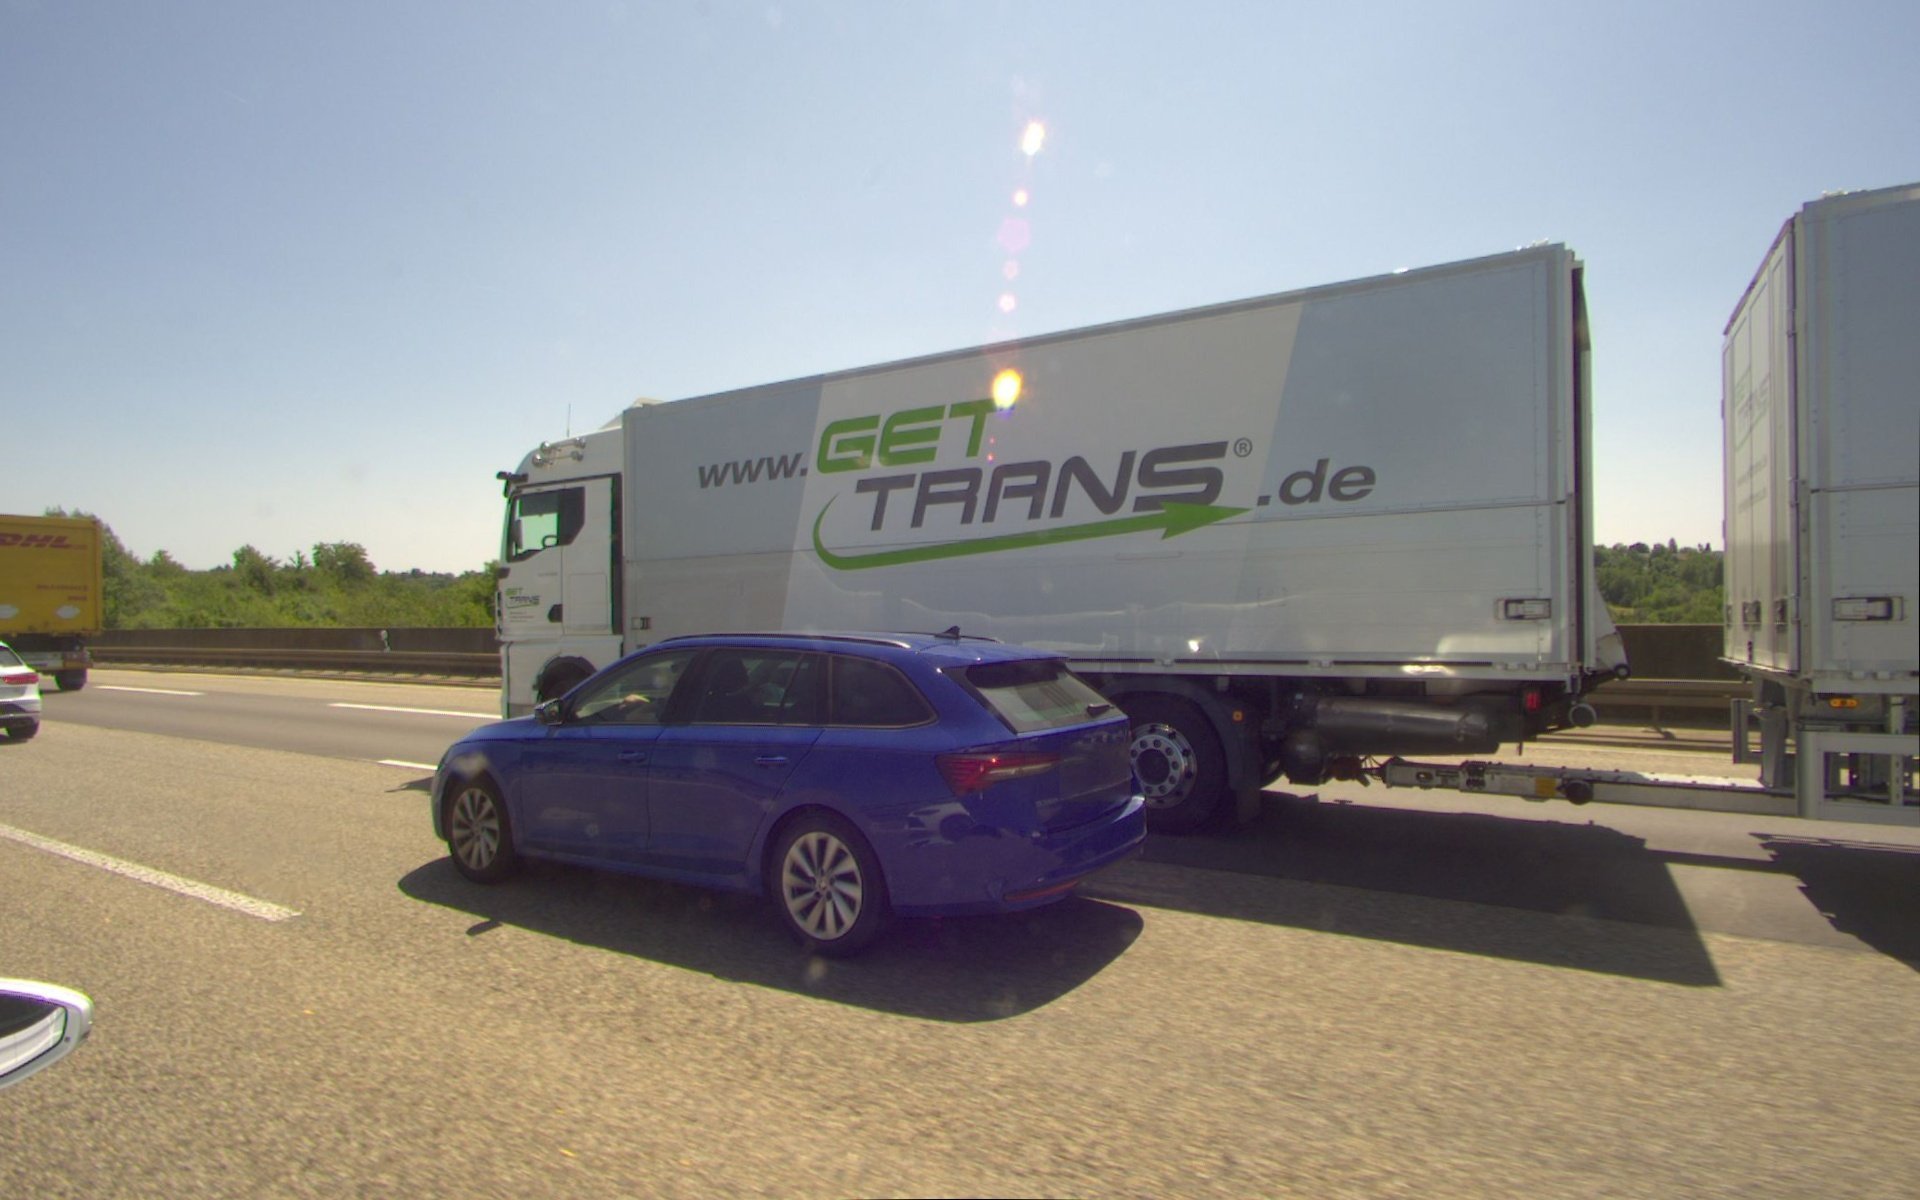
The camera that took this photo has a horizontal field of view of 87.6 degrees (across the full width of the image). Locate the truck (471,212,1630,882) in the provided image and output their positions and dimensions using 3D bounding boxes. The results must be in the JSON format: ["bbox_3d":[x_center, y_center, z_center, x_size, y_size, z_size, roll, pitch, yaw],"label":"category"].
[{"bbox_3d":[-0.155,-0.127,9.472,10.614,3.648,2.846,-2,-2,32],"label":"truck"}]

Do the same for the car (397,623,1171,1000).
[{"bbox_3d":[-1.196,0.874,5.795,4.436,1.459,1.707,-1,-1,32],"label":"car"}]

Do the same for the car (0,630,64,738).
[{"bbox_3d":[-14.355,1.128,13.932,4.128,1.405,1.778,-1,-1,32],"label":"car"}]

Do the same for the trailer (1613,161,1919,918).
[{"bbox_3d":[7.854,-0.301,4.460,8.172,3.640,2.840,-1,-2,32],"label":"trailer"}]

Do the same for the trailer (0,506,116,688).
[{"bbox_3d":[-24.903,0.066,25.465,8.804,4.074,2.697,-2,-2,32],"label":"trailer"}]
